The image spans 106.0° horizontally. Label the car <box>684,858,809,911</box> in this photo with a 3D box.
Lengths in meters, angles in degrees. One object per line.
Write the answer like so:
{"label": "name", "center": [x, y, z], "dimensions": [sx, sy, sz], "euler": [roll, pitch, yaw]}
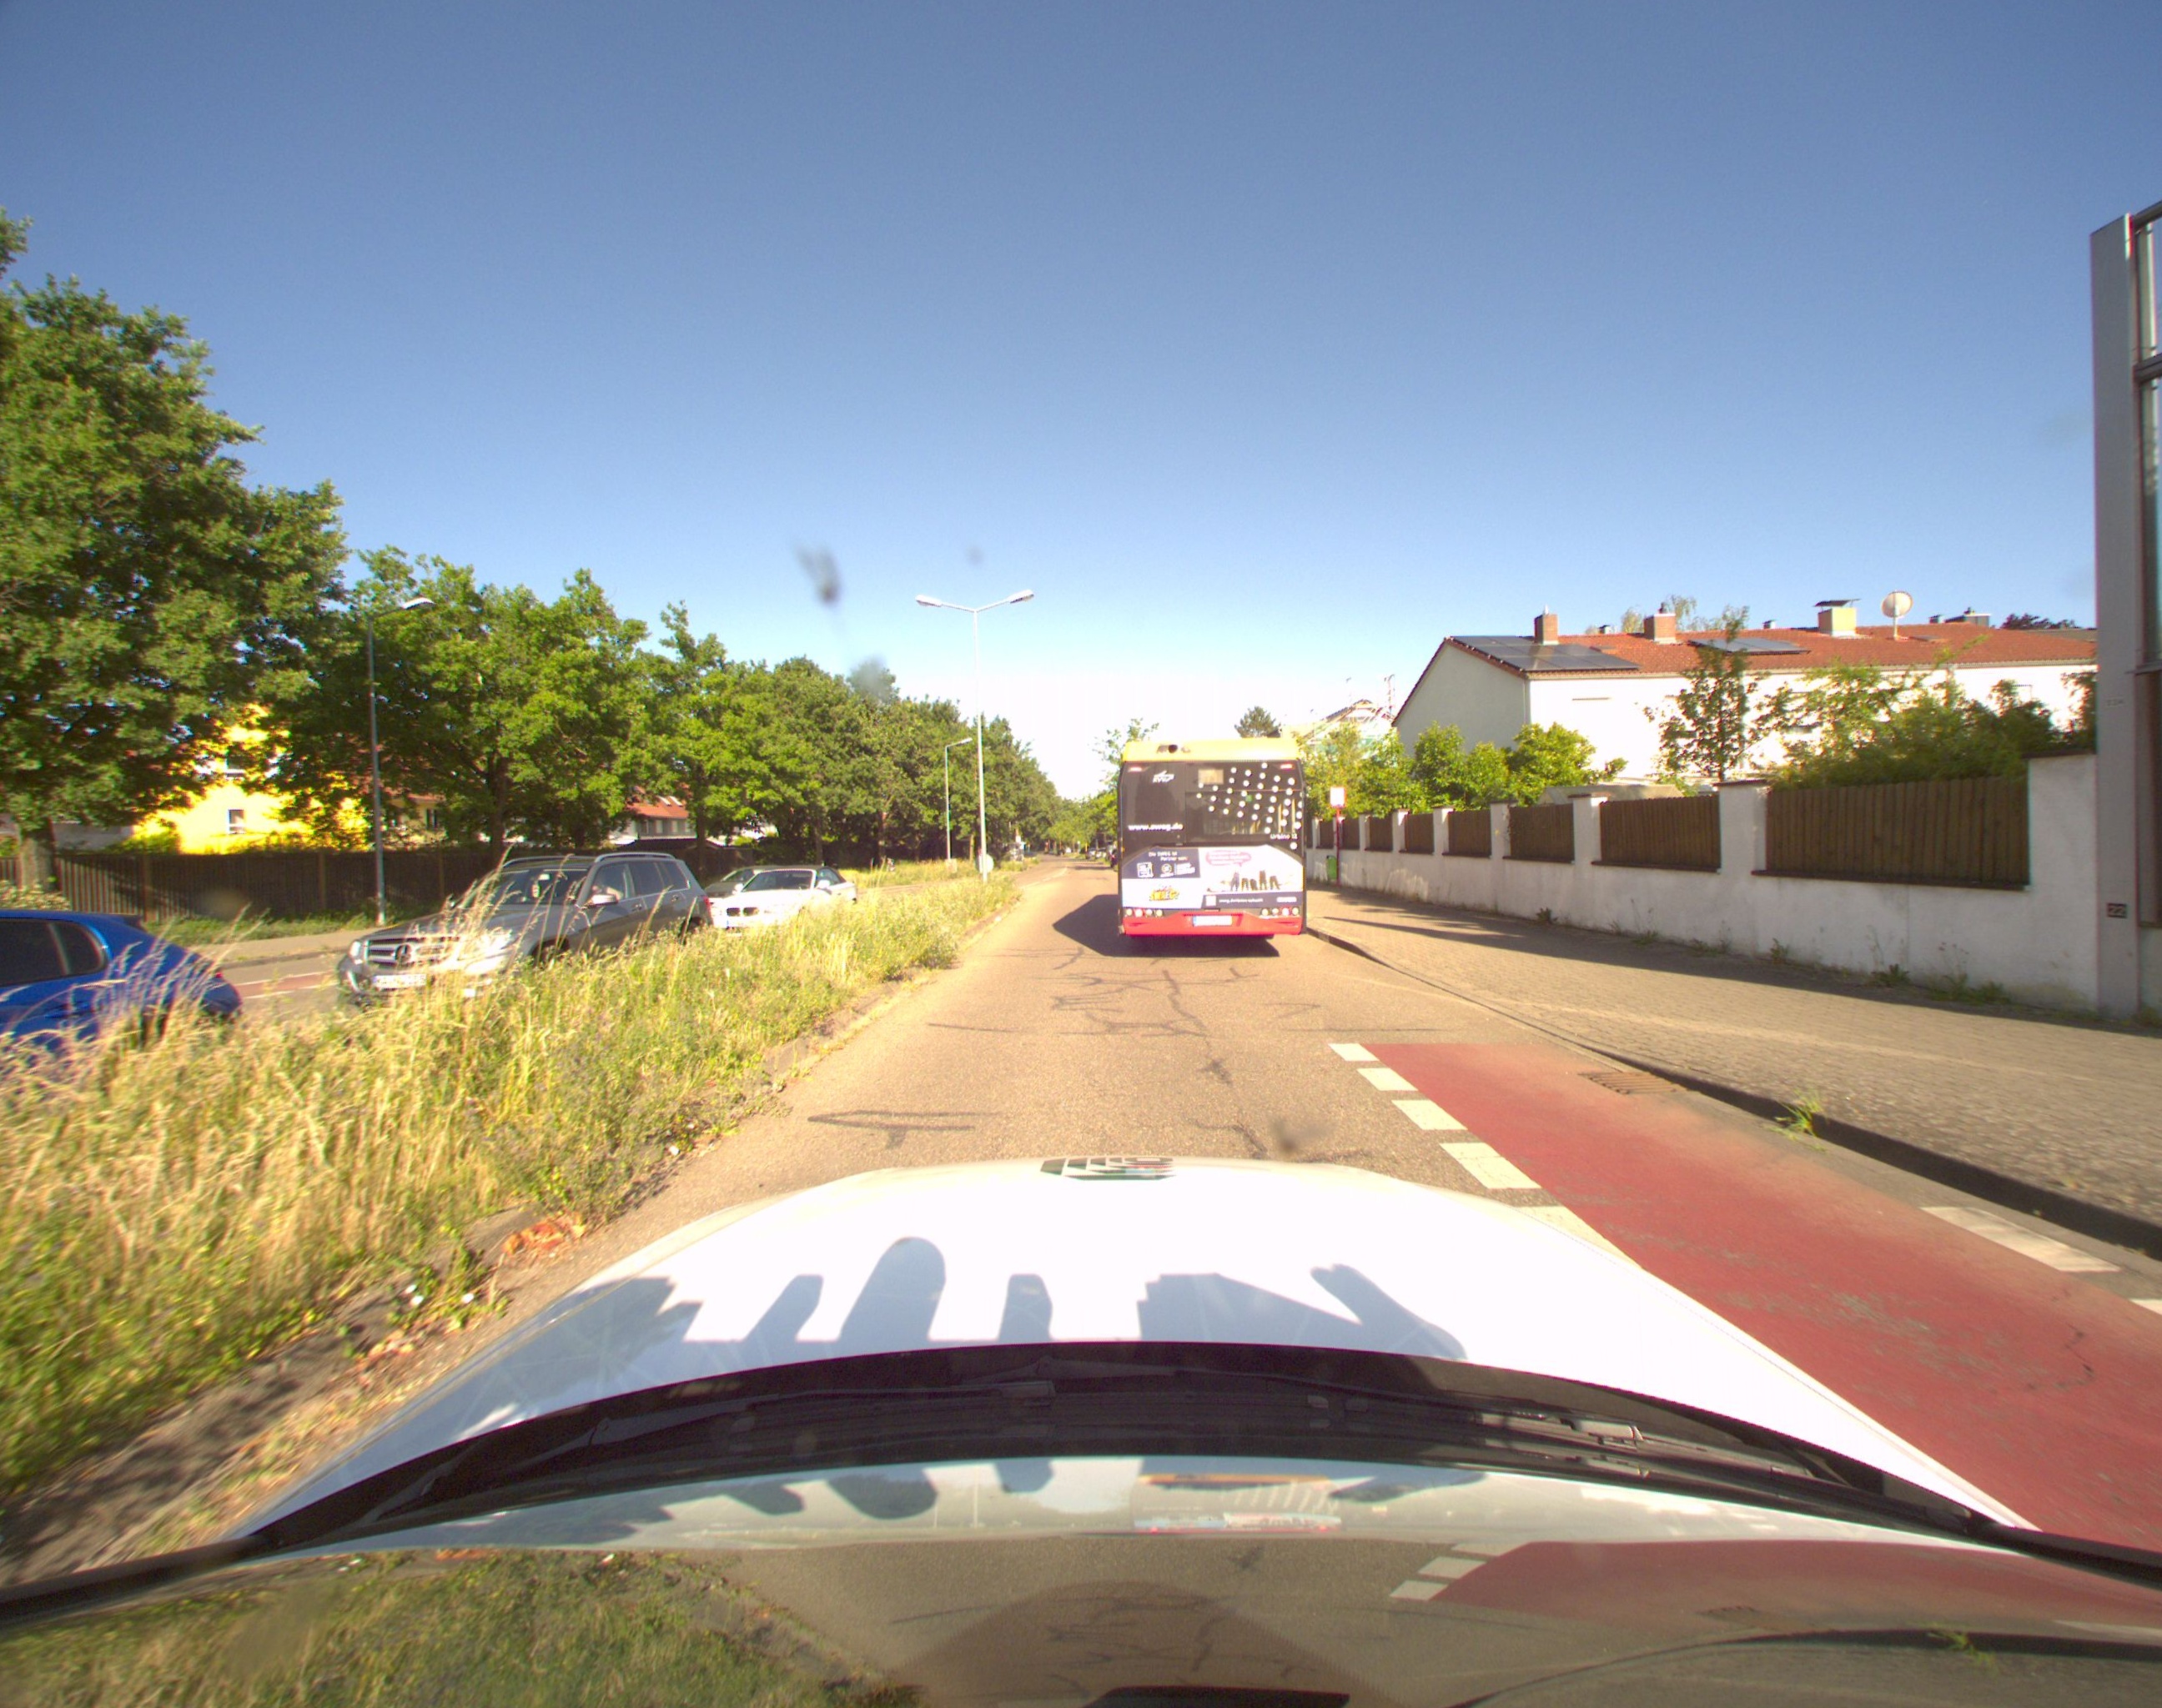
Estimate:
{"label": "car", "center": [-10.730, 0.936, 26.431], "dimensions": [1.698, 1.430, 4.014], "euler": [-3, 0, 12]}

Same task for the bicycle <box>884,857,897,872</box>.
{"label": "bicycle", "center": [-13.868, 0.778, 59.349], "dimensions": [0.504, 1.053, 1.880], "euler": [-2, 0, 0]}

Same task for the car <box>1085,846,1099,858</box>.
{"label": "car", "center": [1.740, -0.320, 126.308], "dimensions": [1.929, 1.742, 3.996], "euler": [-1, 0, -3]}

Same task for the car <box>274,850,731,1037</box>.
{"label": "car", "center": [-6.321, 0.815, 9.774], "dimensions": [1.985, 1.616, 4.535], "euler": [-2, 1, 3]}

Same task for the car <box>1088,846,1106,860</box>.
{"label": "car", "center": [2.020, -0.156, 104.018], "dimensions": [1.931, 1.704, 3.996], "euler": [-1, 0, -3]}

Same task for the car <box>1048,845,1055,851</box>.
{"label": "car", "center": [-8.026, -1.625, 220.062], "dimensions": [1.929, 1.454, 3.995], "euler": [-1, 0, -4]}

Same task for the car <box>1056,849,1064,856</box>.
{"label": "car", "center": [-5.059, -0.341, 195.368], "dimensions": [1.929, 1.542, 3.996], "euler": [-1, 0, -3]}

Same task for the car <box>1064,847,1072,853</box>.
{"label": "car", "center": [-3.610, -1.071, 221.536], "dimensions": [1.929, 1.454, 3.995], "euler": [-1, 0, -4]}

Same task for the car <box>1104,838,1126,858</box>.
{"label": "car", "center": [3.458, -0.643, 83.780], "dimensions": [1.831, 1.971, 4.754], "euler": [-1, 0, -3]}

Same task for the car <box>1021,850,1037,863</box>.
{"label": "car", "center": [-6.308, 0.274, 98.824], "dimensions": [1.932, 1.479, 3.994], "euler": [-1, 0, -4]}

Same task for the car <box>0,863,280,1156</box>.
{"label": "car", "center": [-6.531, 0.865, 3.691], "dimensions": [1.739, 1.483, 3.892], "euler": [-2, 1, 4]}

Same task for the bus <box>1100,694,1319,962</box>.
{"label": "bus", "center": [2.201, -0.328, 17.038], "dimensions": [2.745, 3.458, 12.413], "euler": [-2, 0, 5]}

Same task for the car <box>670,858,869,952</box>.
{"label": "car", "center": [-5.948, 0.891, 16.237], "dimensions": [1.985, 1.450, 4.403], "euler": [-2, 1, 3]}

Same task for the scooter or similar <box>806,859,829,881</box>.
{"label": "scooter or similar", "center": [-15.281, 0.916, 47.263], "dimensions": [0.535, 1.218, 1.420], "euler": [0, 2, 16]}

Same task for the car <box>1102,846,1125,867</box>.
{"label": "car", "center": [2.646, 0.189, 67.953], "dimensions": [1.667, 1.578, 3.750], "euler": [-3, 0, 0]}
